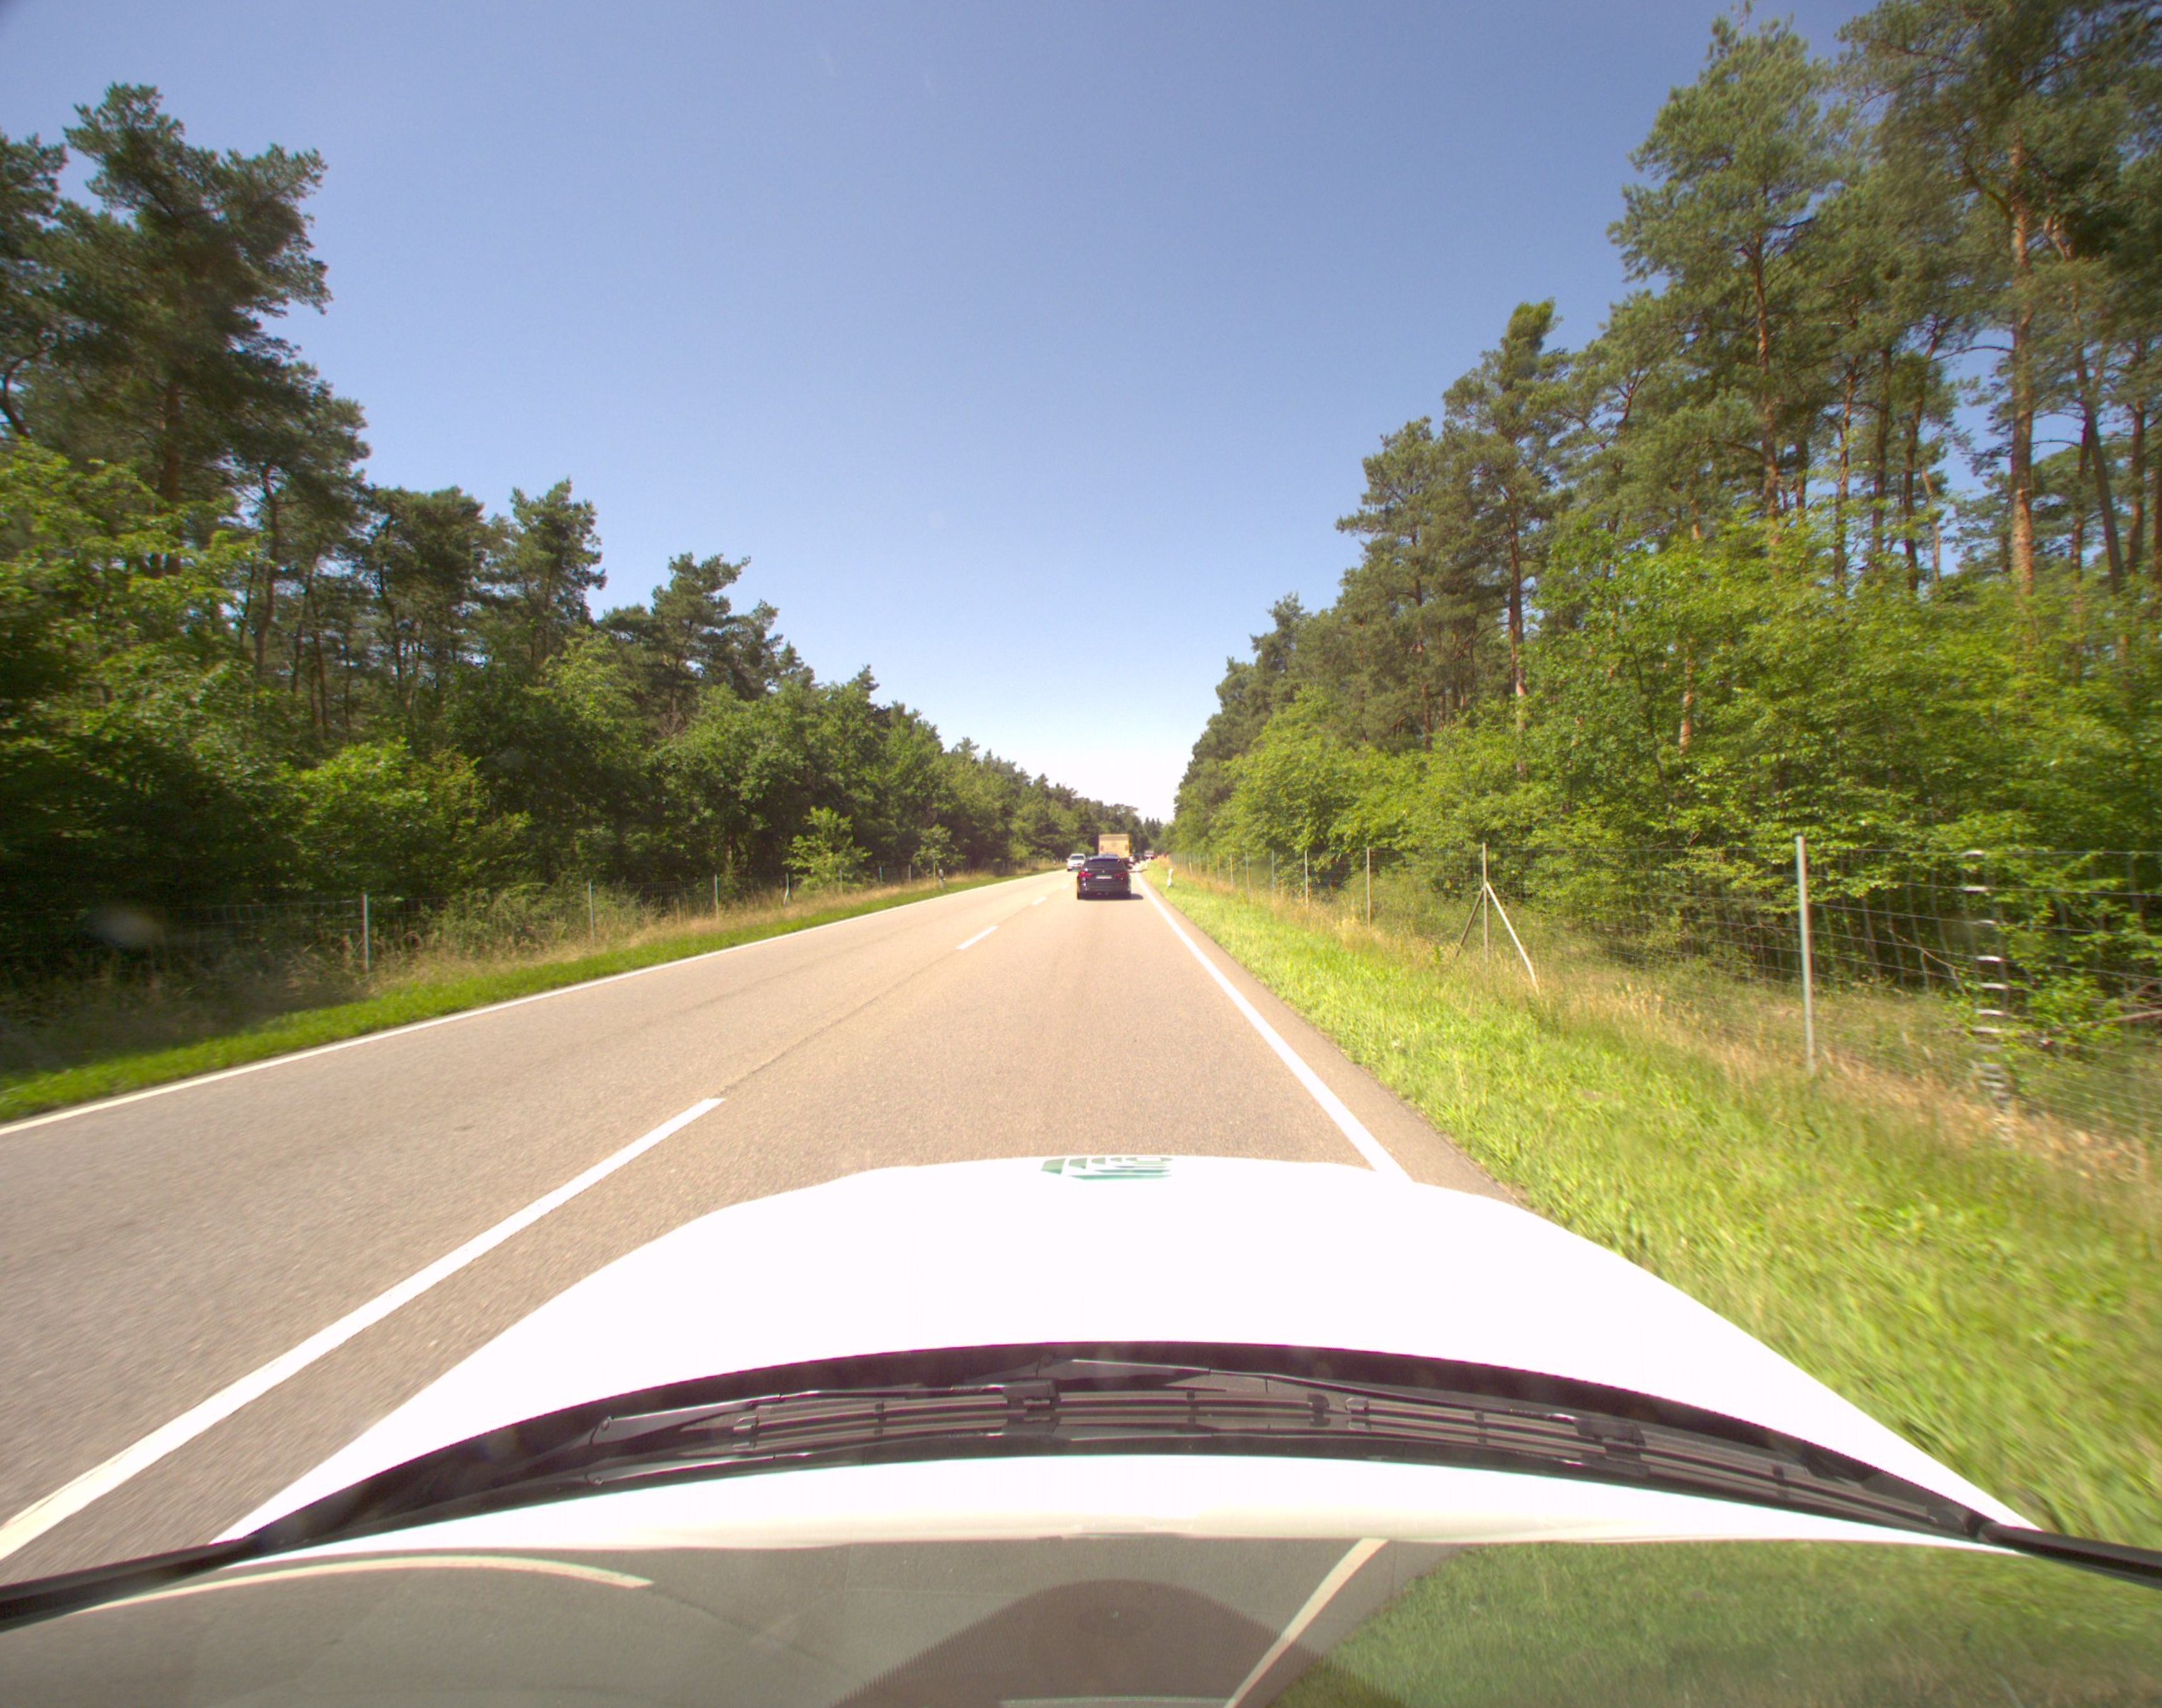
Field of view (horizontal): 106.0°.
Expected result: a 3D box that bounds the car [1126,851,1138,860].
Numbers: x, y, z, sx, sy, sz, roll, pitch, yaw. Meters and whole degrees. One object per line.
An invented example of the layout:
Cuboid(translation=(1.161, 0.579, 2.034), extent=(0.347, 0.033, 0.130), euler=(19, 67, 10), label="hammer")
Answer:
Cuboid(translation=(8.562, 0.276, 136.469), extent=(1.985, 1.420, 4.004), euler=(-2, 0, 3), label="car")

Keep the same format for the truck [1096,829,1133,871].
Cuboid(translation=(2.877, -0.318, 71.299), extent=(2.954, 3.387, 6.441), euler=(-2, 0, 2), label="truck")

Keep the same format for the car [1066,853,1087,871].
Cuboid(translation=(-0.408, 0.740, 76.923), extent=(1.856, 1.629, 4.094), euler=(-1, 0, 2), label="car")

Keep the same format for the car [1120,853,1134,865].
Cuboid(translation=(6.312, 0.716, 112.556), extent=(1.855, 1.605, 4.004), euler=(-2, 0, 3), label="car")

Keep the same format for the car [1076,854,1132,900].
Cuboid(translation=(0.818, 0.758, 28.687), extent=(1.814, 1.470, 4.001), euler=(-2, 0, 1), label="car")

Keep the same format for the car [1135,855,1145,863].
Cuboid(translation=(12.384, 0.972, 171.246), extent=(1.984, 1.636, 4.005), euler=(-2, 0, 4), label="car")

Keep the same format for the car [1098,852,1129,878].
Cuboid(translation=(2.195, 0.706, 54.025), extent=(1.939, 1.542, 4.004), euler=(-2, 0, 3), label="car")

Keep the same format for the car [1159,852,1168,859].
Cuboid(translation=(26.318, 0.449, 261.139), extent=(2.332, 1.885, 4.647), euler=(-2, 0, 12), label="car")

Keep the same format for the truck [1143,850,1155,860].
Cuboid(translation=(16.597, 0.256, 198.056), extent=(2.549, 2.202, 4.985), euler=(-2, 0, 8), label="truck")

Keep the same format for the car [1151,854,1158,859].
Cuboid(translation=(20.611, 0.585, 228.430), extent=(1.783, 1.354, 3.940), euler=(-2, 0, 10), label="car")
